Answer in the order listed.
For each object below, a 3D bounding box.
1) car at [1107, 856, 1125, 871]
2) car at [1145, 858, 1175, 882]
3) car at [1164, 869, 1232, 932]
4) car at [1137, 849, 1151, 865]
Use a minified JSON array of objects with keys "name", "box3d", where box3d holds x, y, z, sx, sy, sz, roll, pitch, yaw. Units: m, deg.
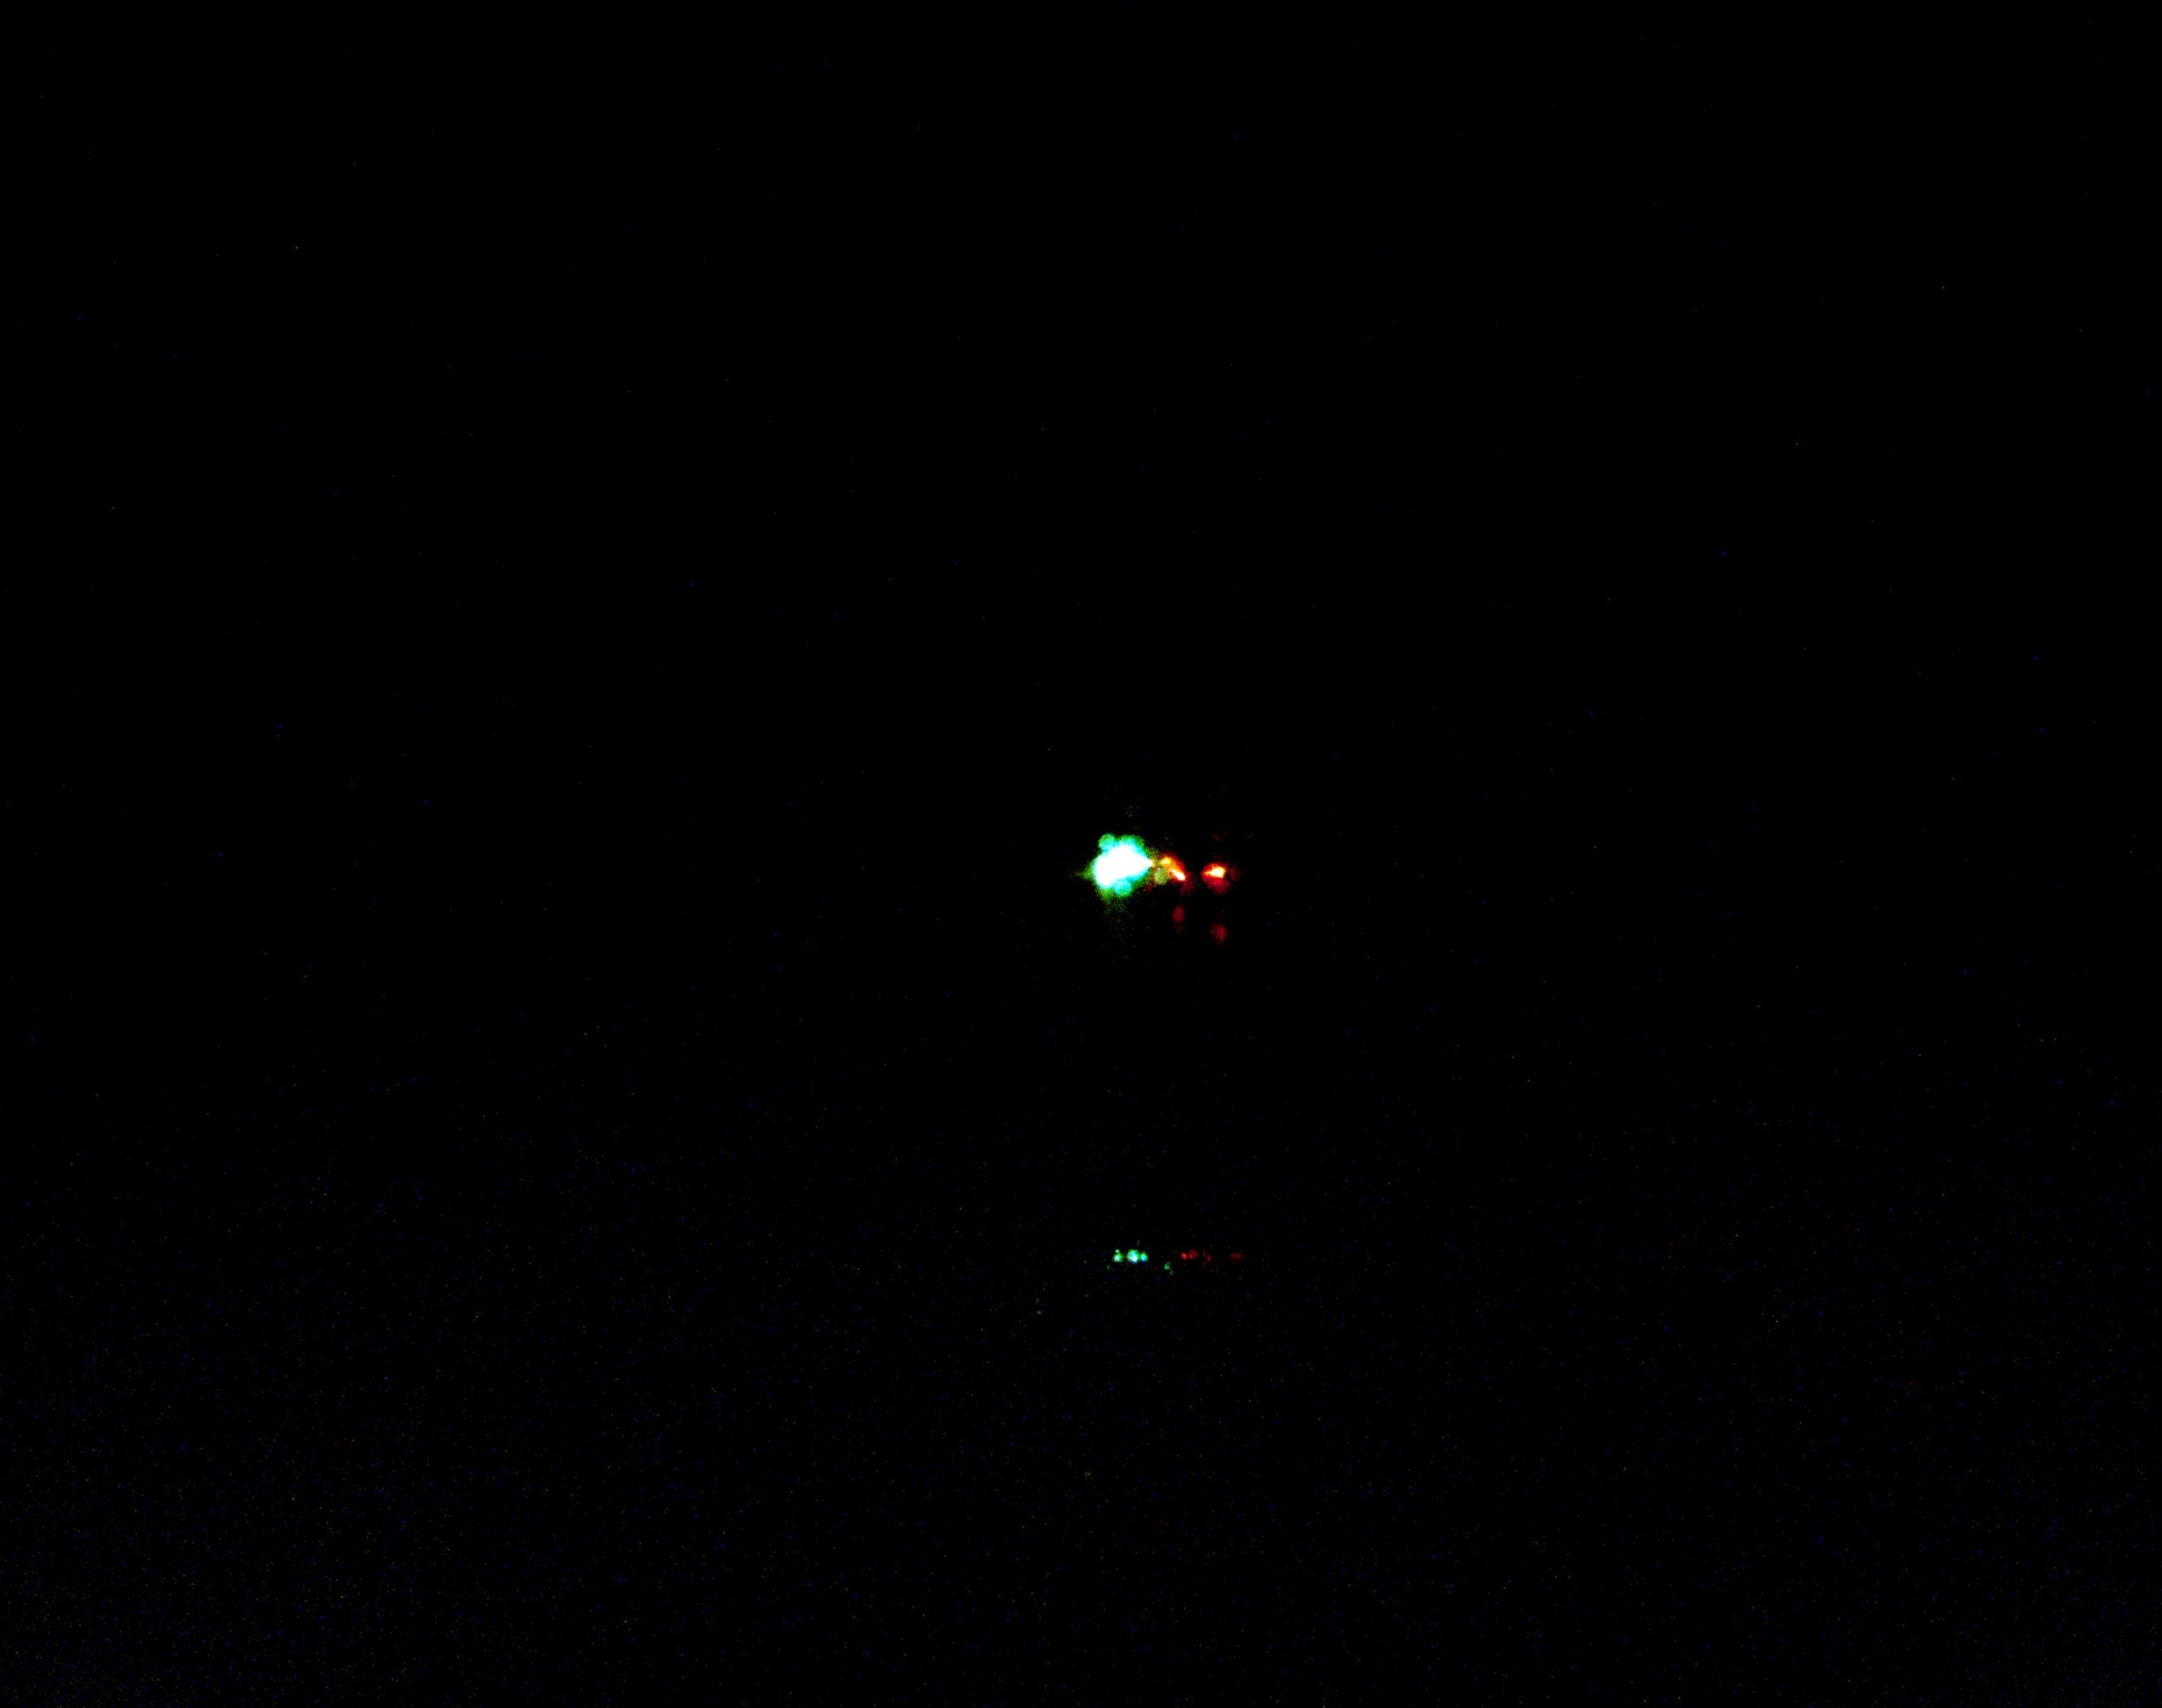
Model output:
[{"name":"car","box3d":[3.991,1.096,86.165,1.877,1.578,4.890,-2,0,4]},{"name":"car","box3d":[5.512,1.086,53.582,1.930,1.565,4.349,-2,-1,5]},{"name":"car","box3d":[4.080,1.579,27.112,1.998,2.001,4.001,-2,0,4]},{"name":"car","box3d":[9.708,0.482,117.279,1.998,2.259,5.469,-2,-1,4]}]
